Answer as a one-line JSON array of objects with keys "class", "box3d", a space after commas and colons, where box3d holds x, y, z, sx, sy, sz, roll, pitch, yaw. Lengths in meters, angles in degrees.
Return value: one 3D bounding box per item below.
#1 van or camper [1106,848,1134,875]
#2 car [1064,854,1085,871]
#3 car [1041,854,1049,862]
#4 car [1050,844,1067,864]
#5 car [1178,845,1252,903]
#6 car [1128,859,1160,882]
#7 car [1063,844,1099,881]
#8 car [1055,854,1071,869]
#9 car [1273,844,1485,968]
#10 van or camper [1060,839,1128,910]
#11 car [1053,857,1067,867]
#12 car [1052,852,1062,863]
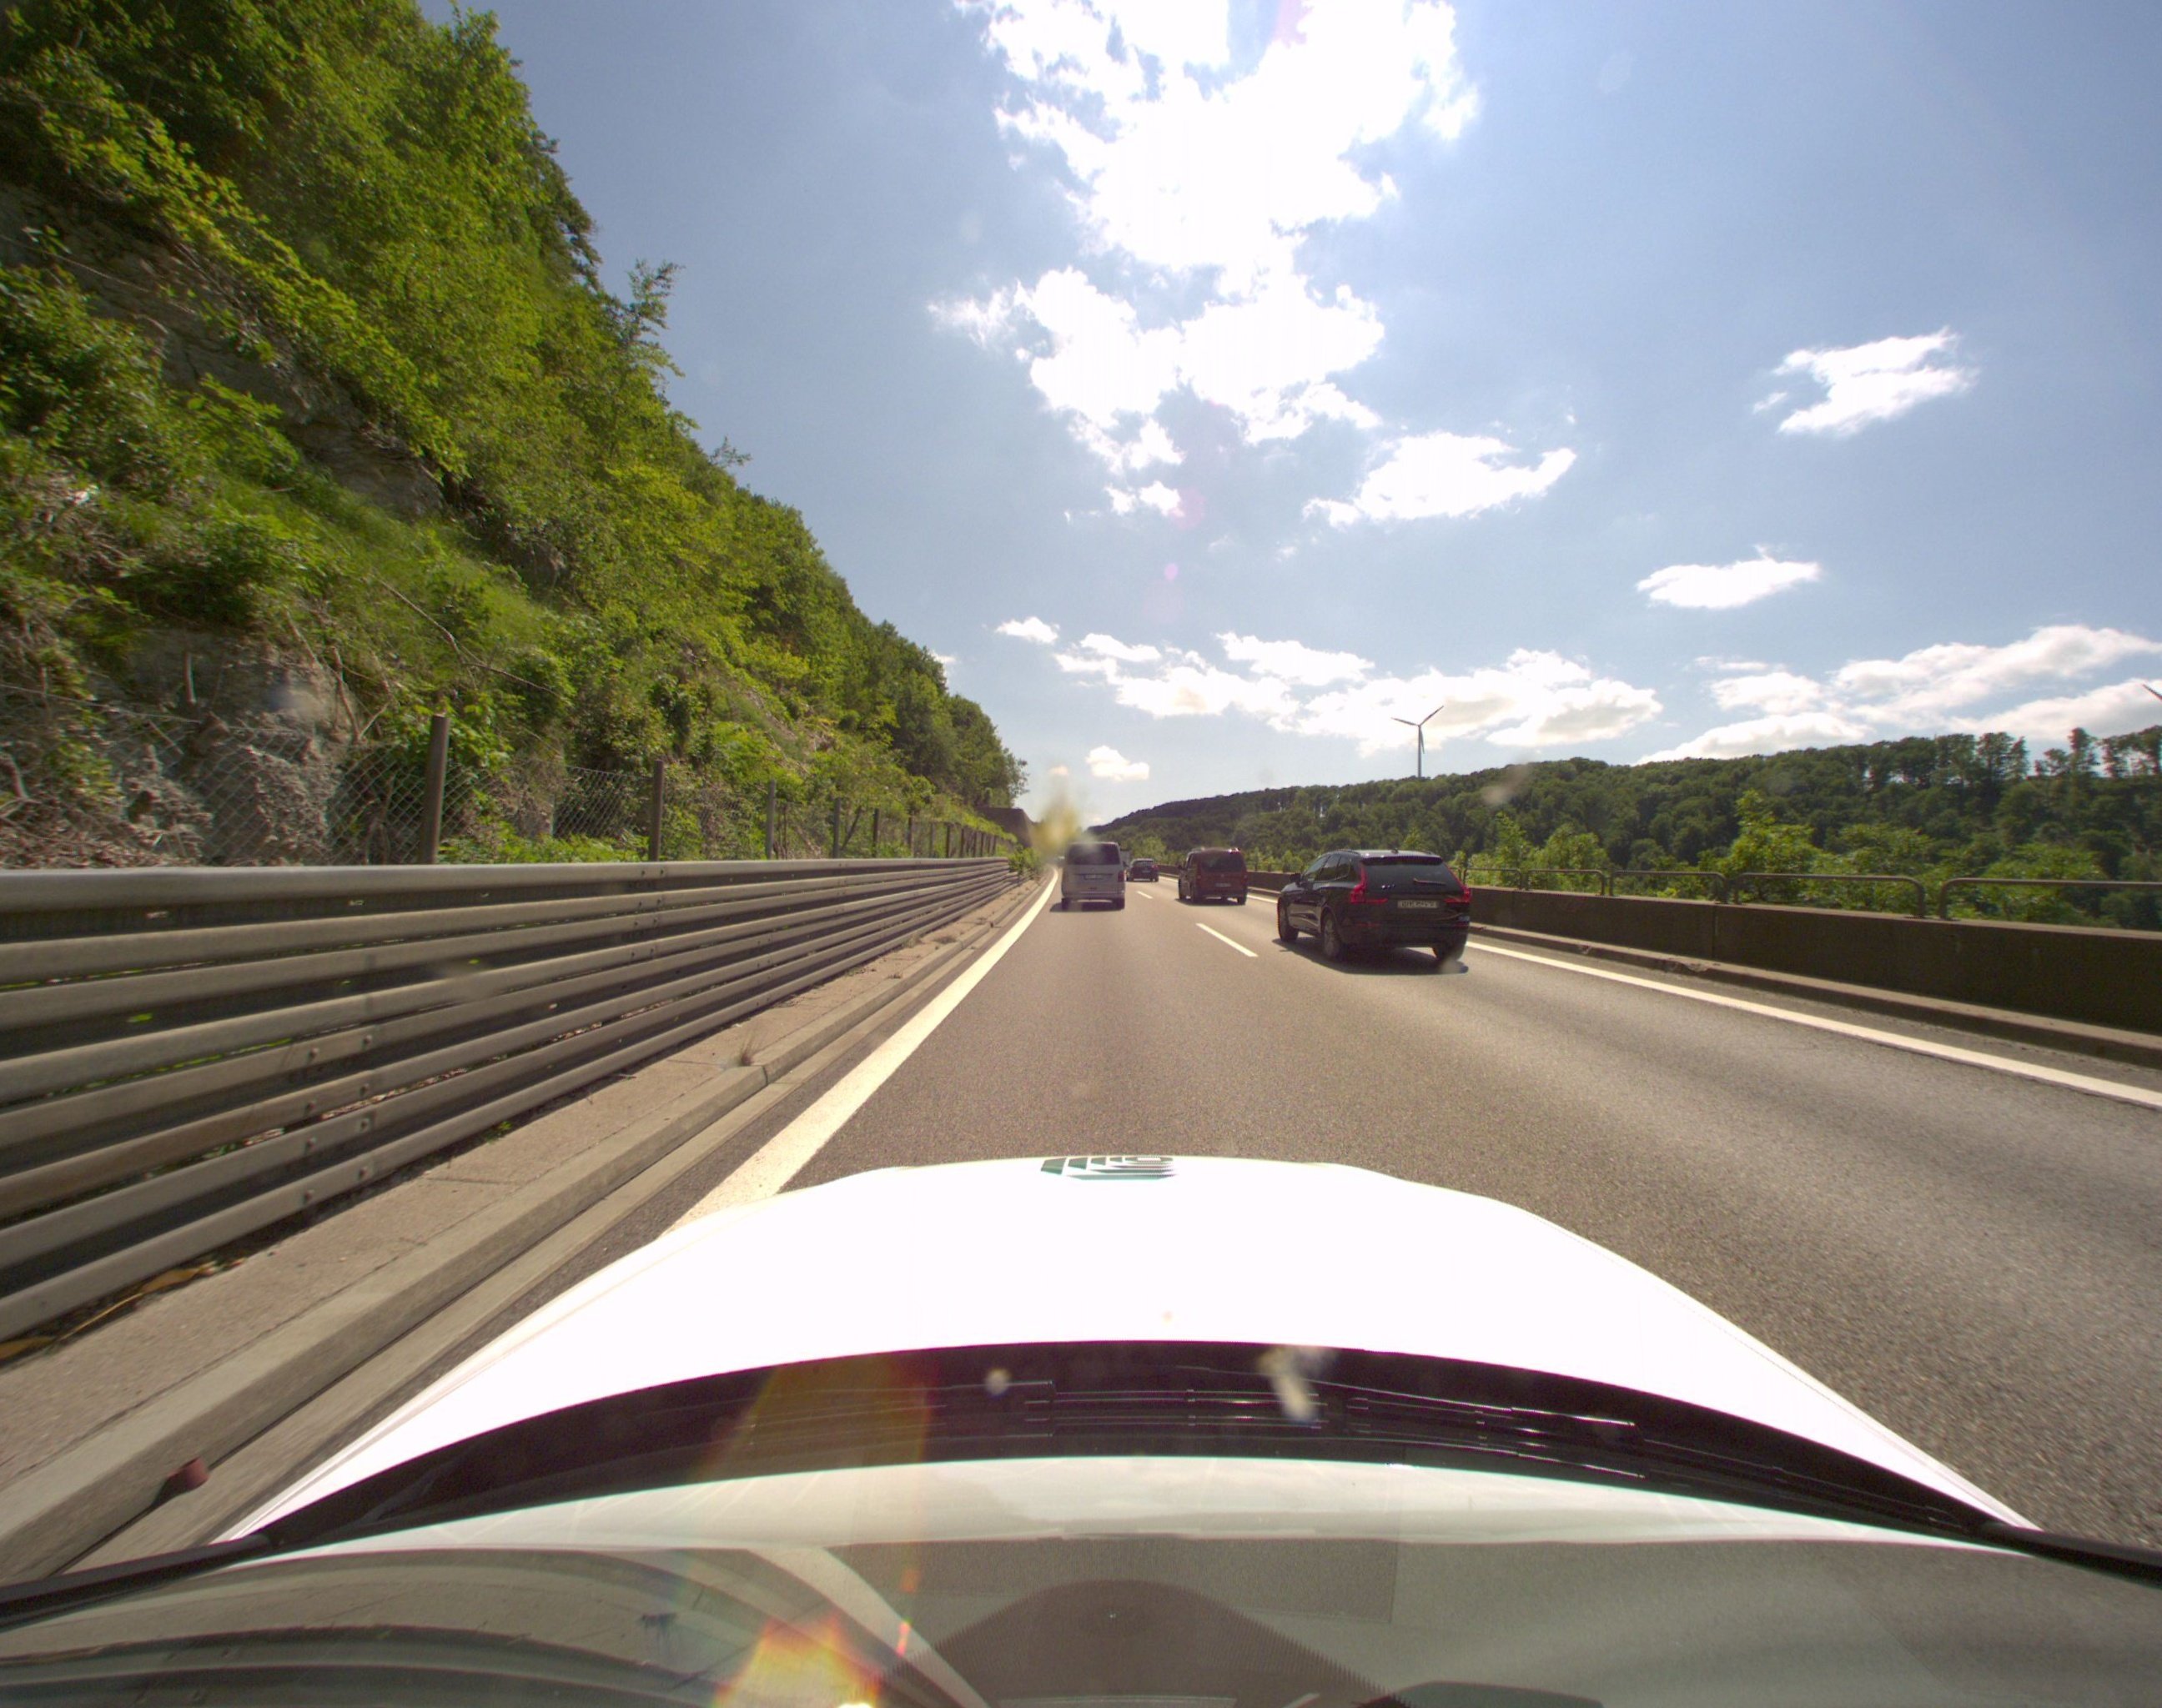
[{"class": "van or camper", "box3d": [3.763, 0.715, 79.472, 2.259, 2.551, 4.731, -2, 0, -3]}, {"class": "car", "box3d": [-0.691, 0.901, 87.077, 1.989, 1.817, 3.995, 0, 0, -4]}, {"class": "car", "box3d": [-8.009, 0.970, 180.939, 1.841, 1.750, 3.997, -1, 0, -2]}, {"class": "car", "box3d": [-5.857, 0.024, 213.156, 4.032, 4.871, 10.104, -1, 0, -1]}, {"class": "car", "box3d": [4.551, 0.662, 28.295, 1.827, 1.784, 4.676, -2, -1, 1]}, {"class": "car", "box3d": [3.983, 1.044, 52.127, 1.763, 1.376, 3.592, -1, 0, 0]}, {"class": "car", "box3d": [0.042, 0.498, 48.420, 1.986, 2.014, 4.002, -2, -1, 2]}, {"class": "car", "box3d": [-2.291, 0.915, 103.196, 1.988, 1.915, 3.997, 0, 0, -2]}, {"class": "car", "box3d": [4.495, 0.691, 13.130, 1.828, 1.633, 4.664, 0, 0, 1]}, {"class": "van or camper", "box3d": [0.362, 0.609, 25.226, 1.870, 1.949, 4.292, -2, -1, -1]}, {"class": "car", "box3d": [-3.451, 1.279, 134.631, 2.137, 1.607, 5.074, -1, 0, -2]}, {"class": "car", "box3d": [-4.768, 0.695, 162.764, 1.987, 2.014, 3.998, -2, -1, -1]}]
